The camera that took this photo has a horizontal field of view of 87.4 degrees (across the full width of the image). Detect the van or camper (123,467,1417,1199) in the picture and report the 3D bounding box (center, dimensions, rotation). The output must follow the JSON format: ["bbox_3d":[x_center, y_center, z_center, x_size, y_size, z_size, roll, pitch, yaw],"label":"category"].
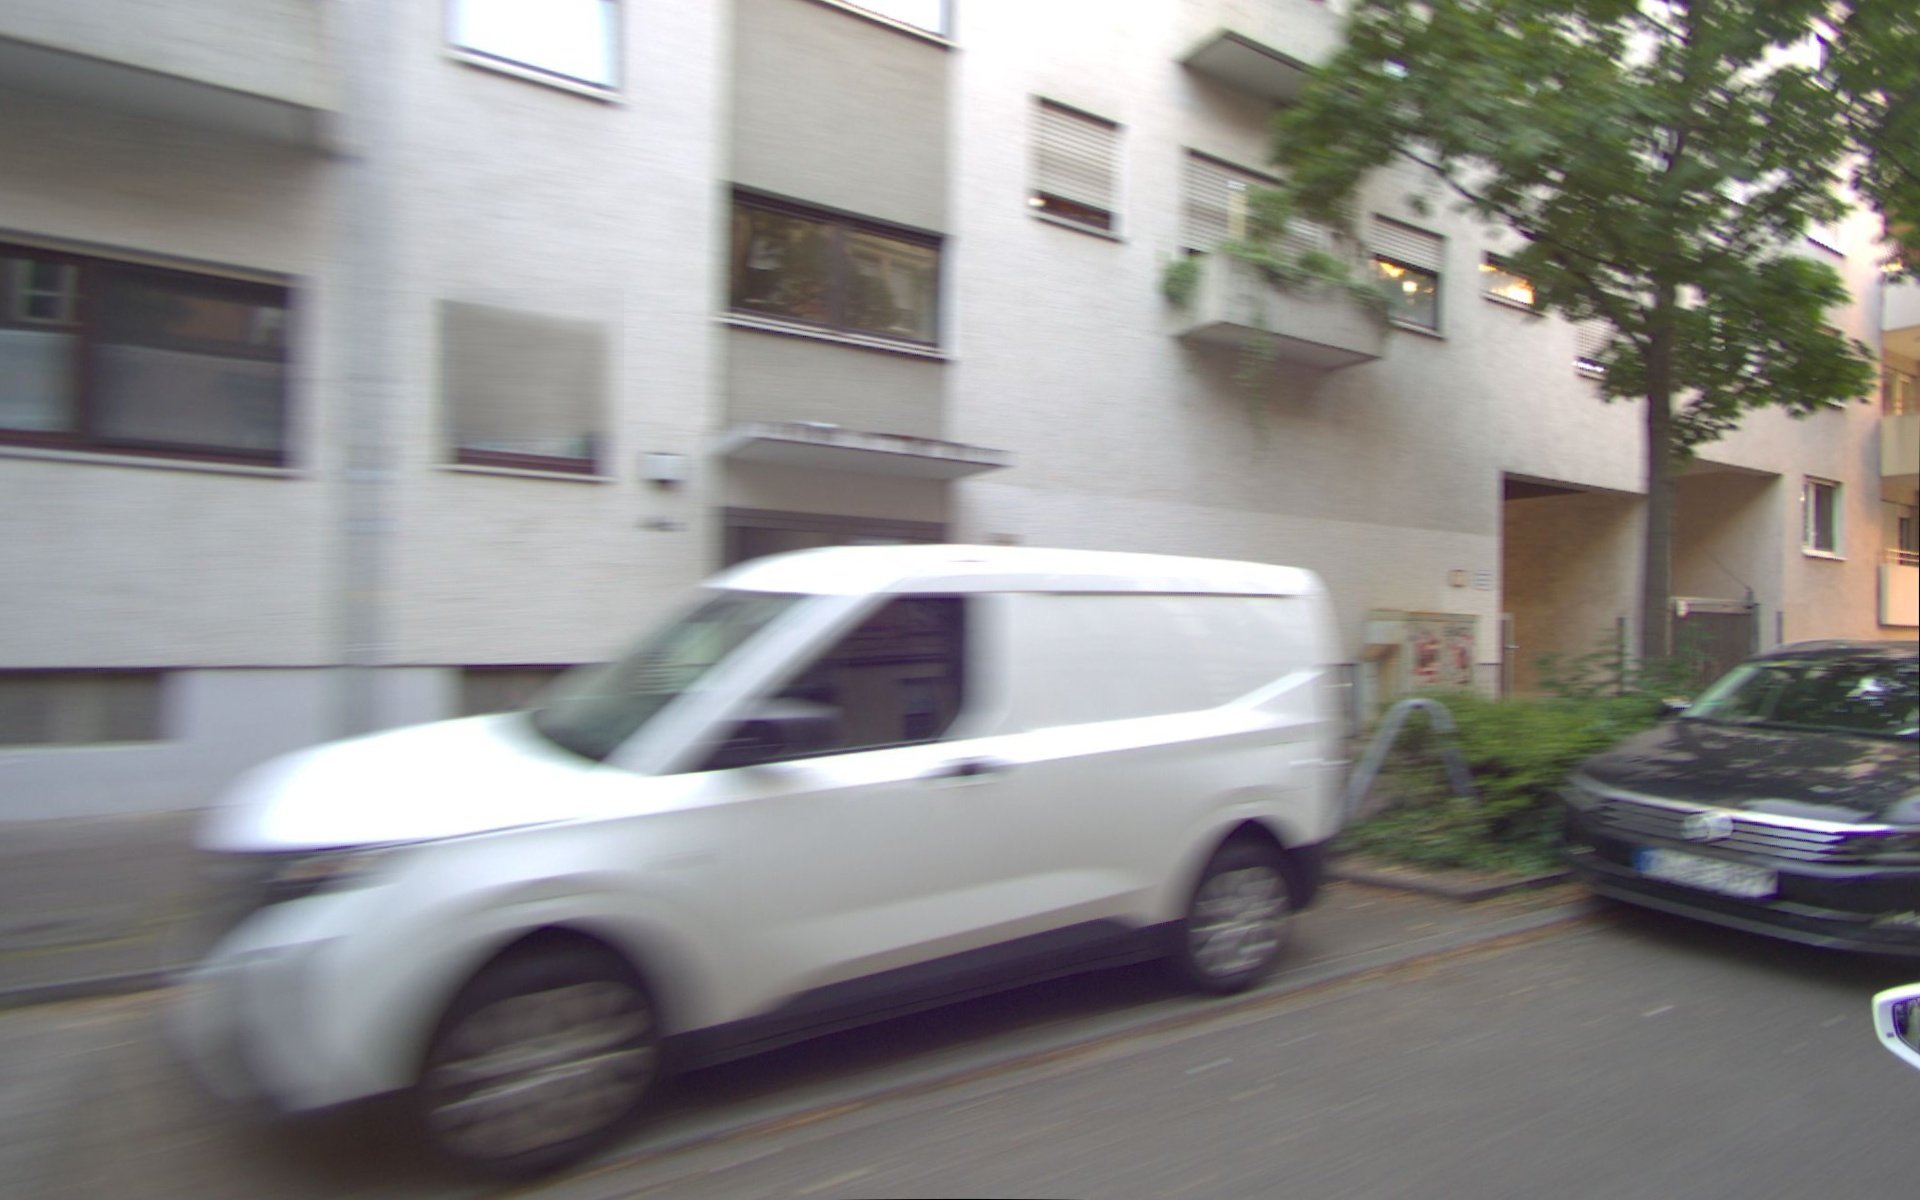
[{"bbox_3d":[-0.385,0.617,4.129,4.415,1.783,1.920,2,2,-32],"label":"van or camper"}]

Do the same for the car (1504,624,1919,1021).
[{"bbox_3d":[5.252,0.940,5.613,4.450,1.471,1.838,2,0,-30],"label":"car"}]
